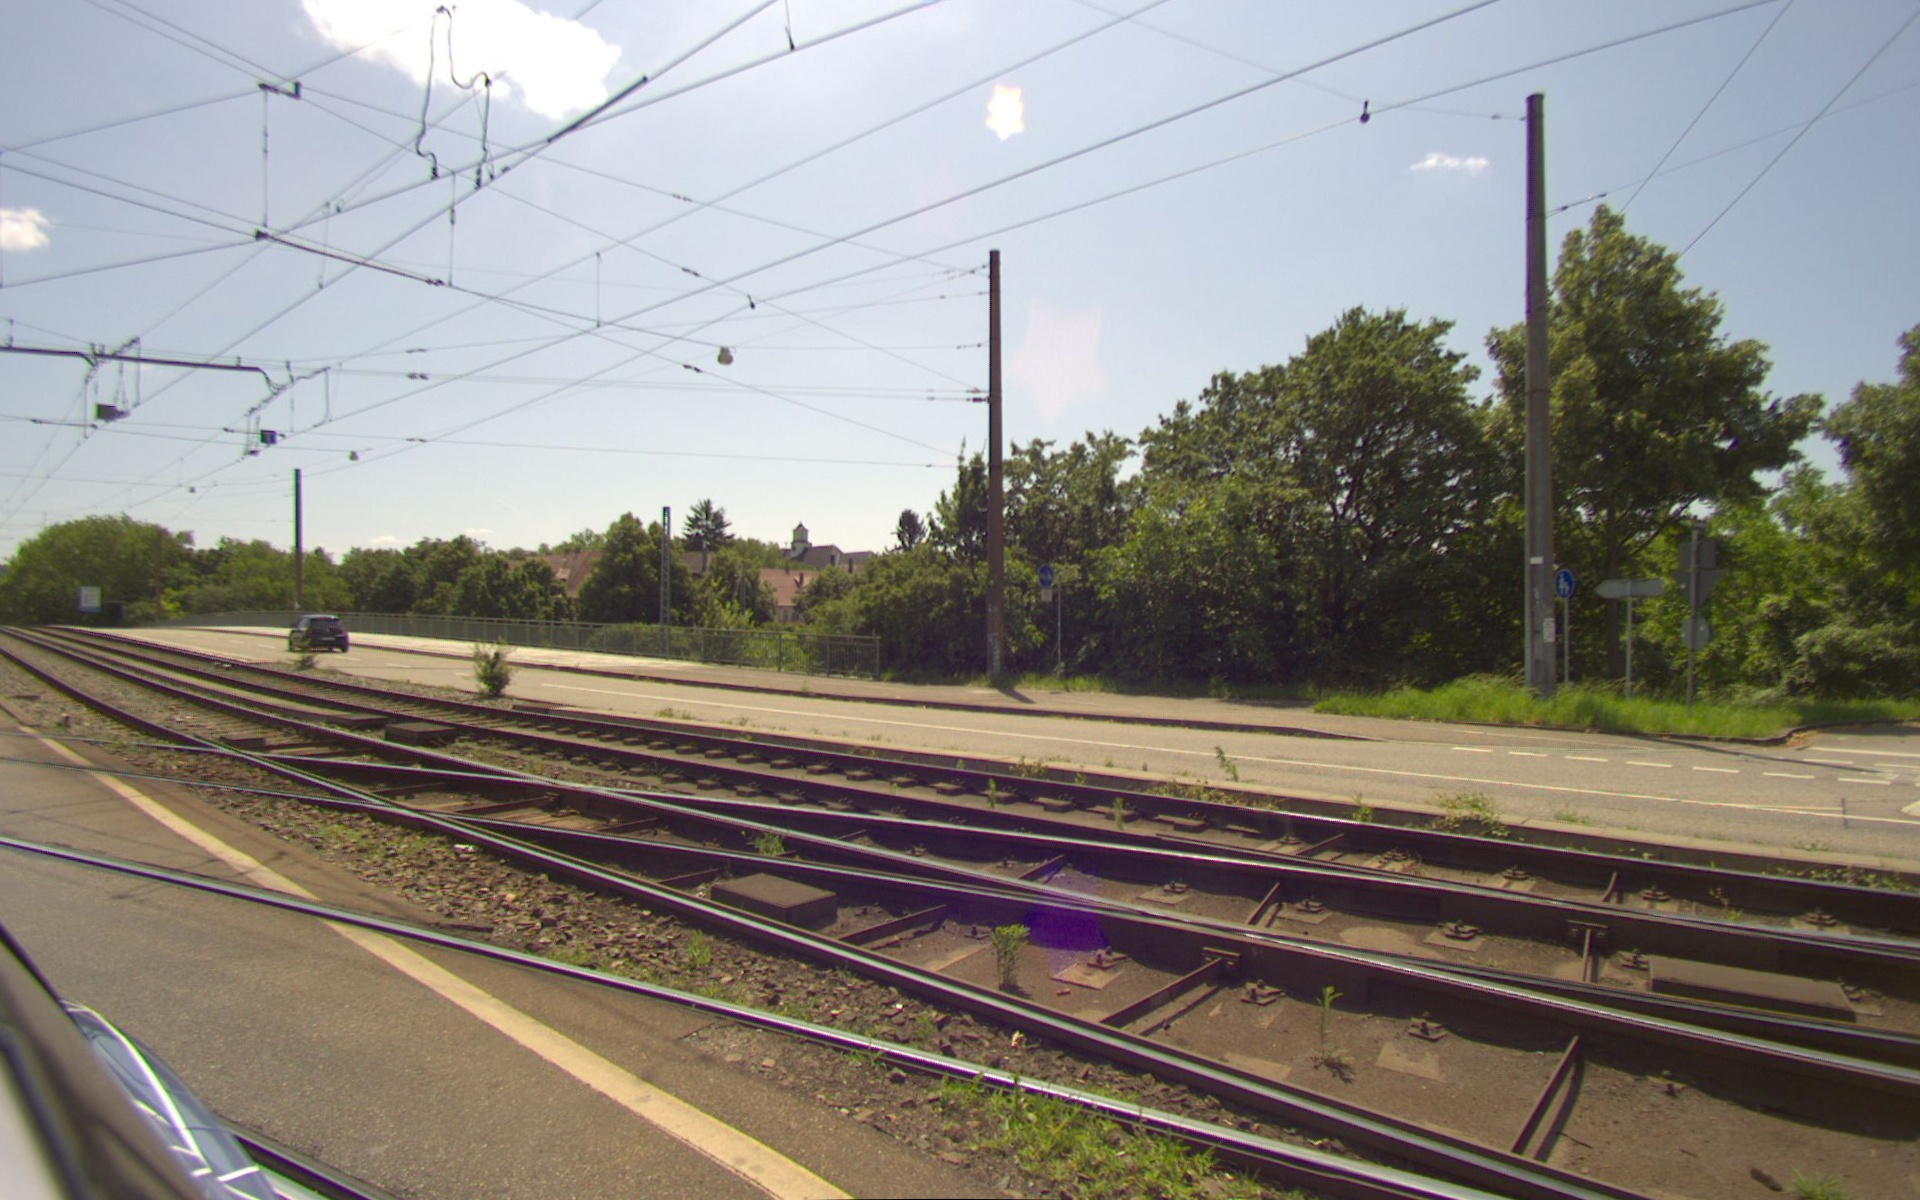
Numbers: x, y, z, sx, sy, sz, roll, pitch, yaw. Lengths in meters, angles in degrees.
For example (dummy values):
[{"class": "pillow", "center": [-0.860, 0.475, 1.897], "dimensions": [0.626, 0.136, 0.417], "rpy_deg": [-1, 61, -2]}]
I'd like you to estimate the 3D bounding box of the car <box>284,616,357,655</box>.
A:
[{"class": "car", "center": [-26.504, 1.464, 41.913], "dimensions": [3.734, 1.522, 1.686], "rpy_deg": [-2, -3, 44]}]
